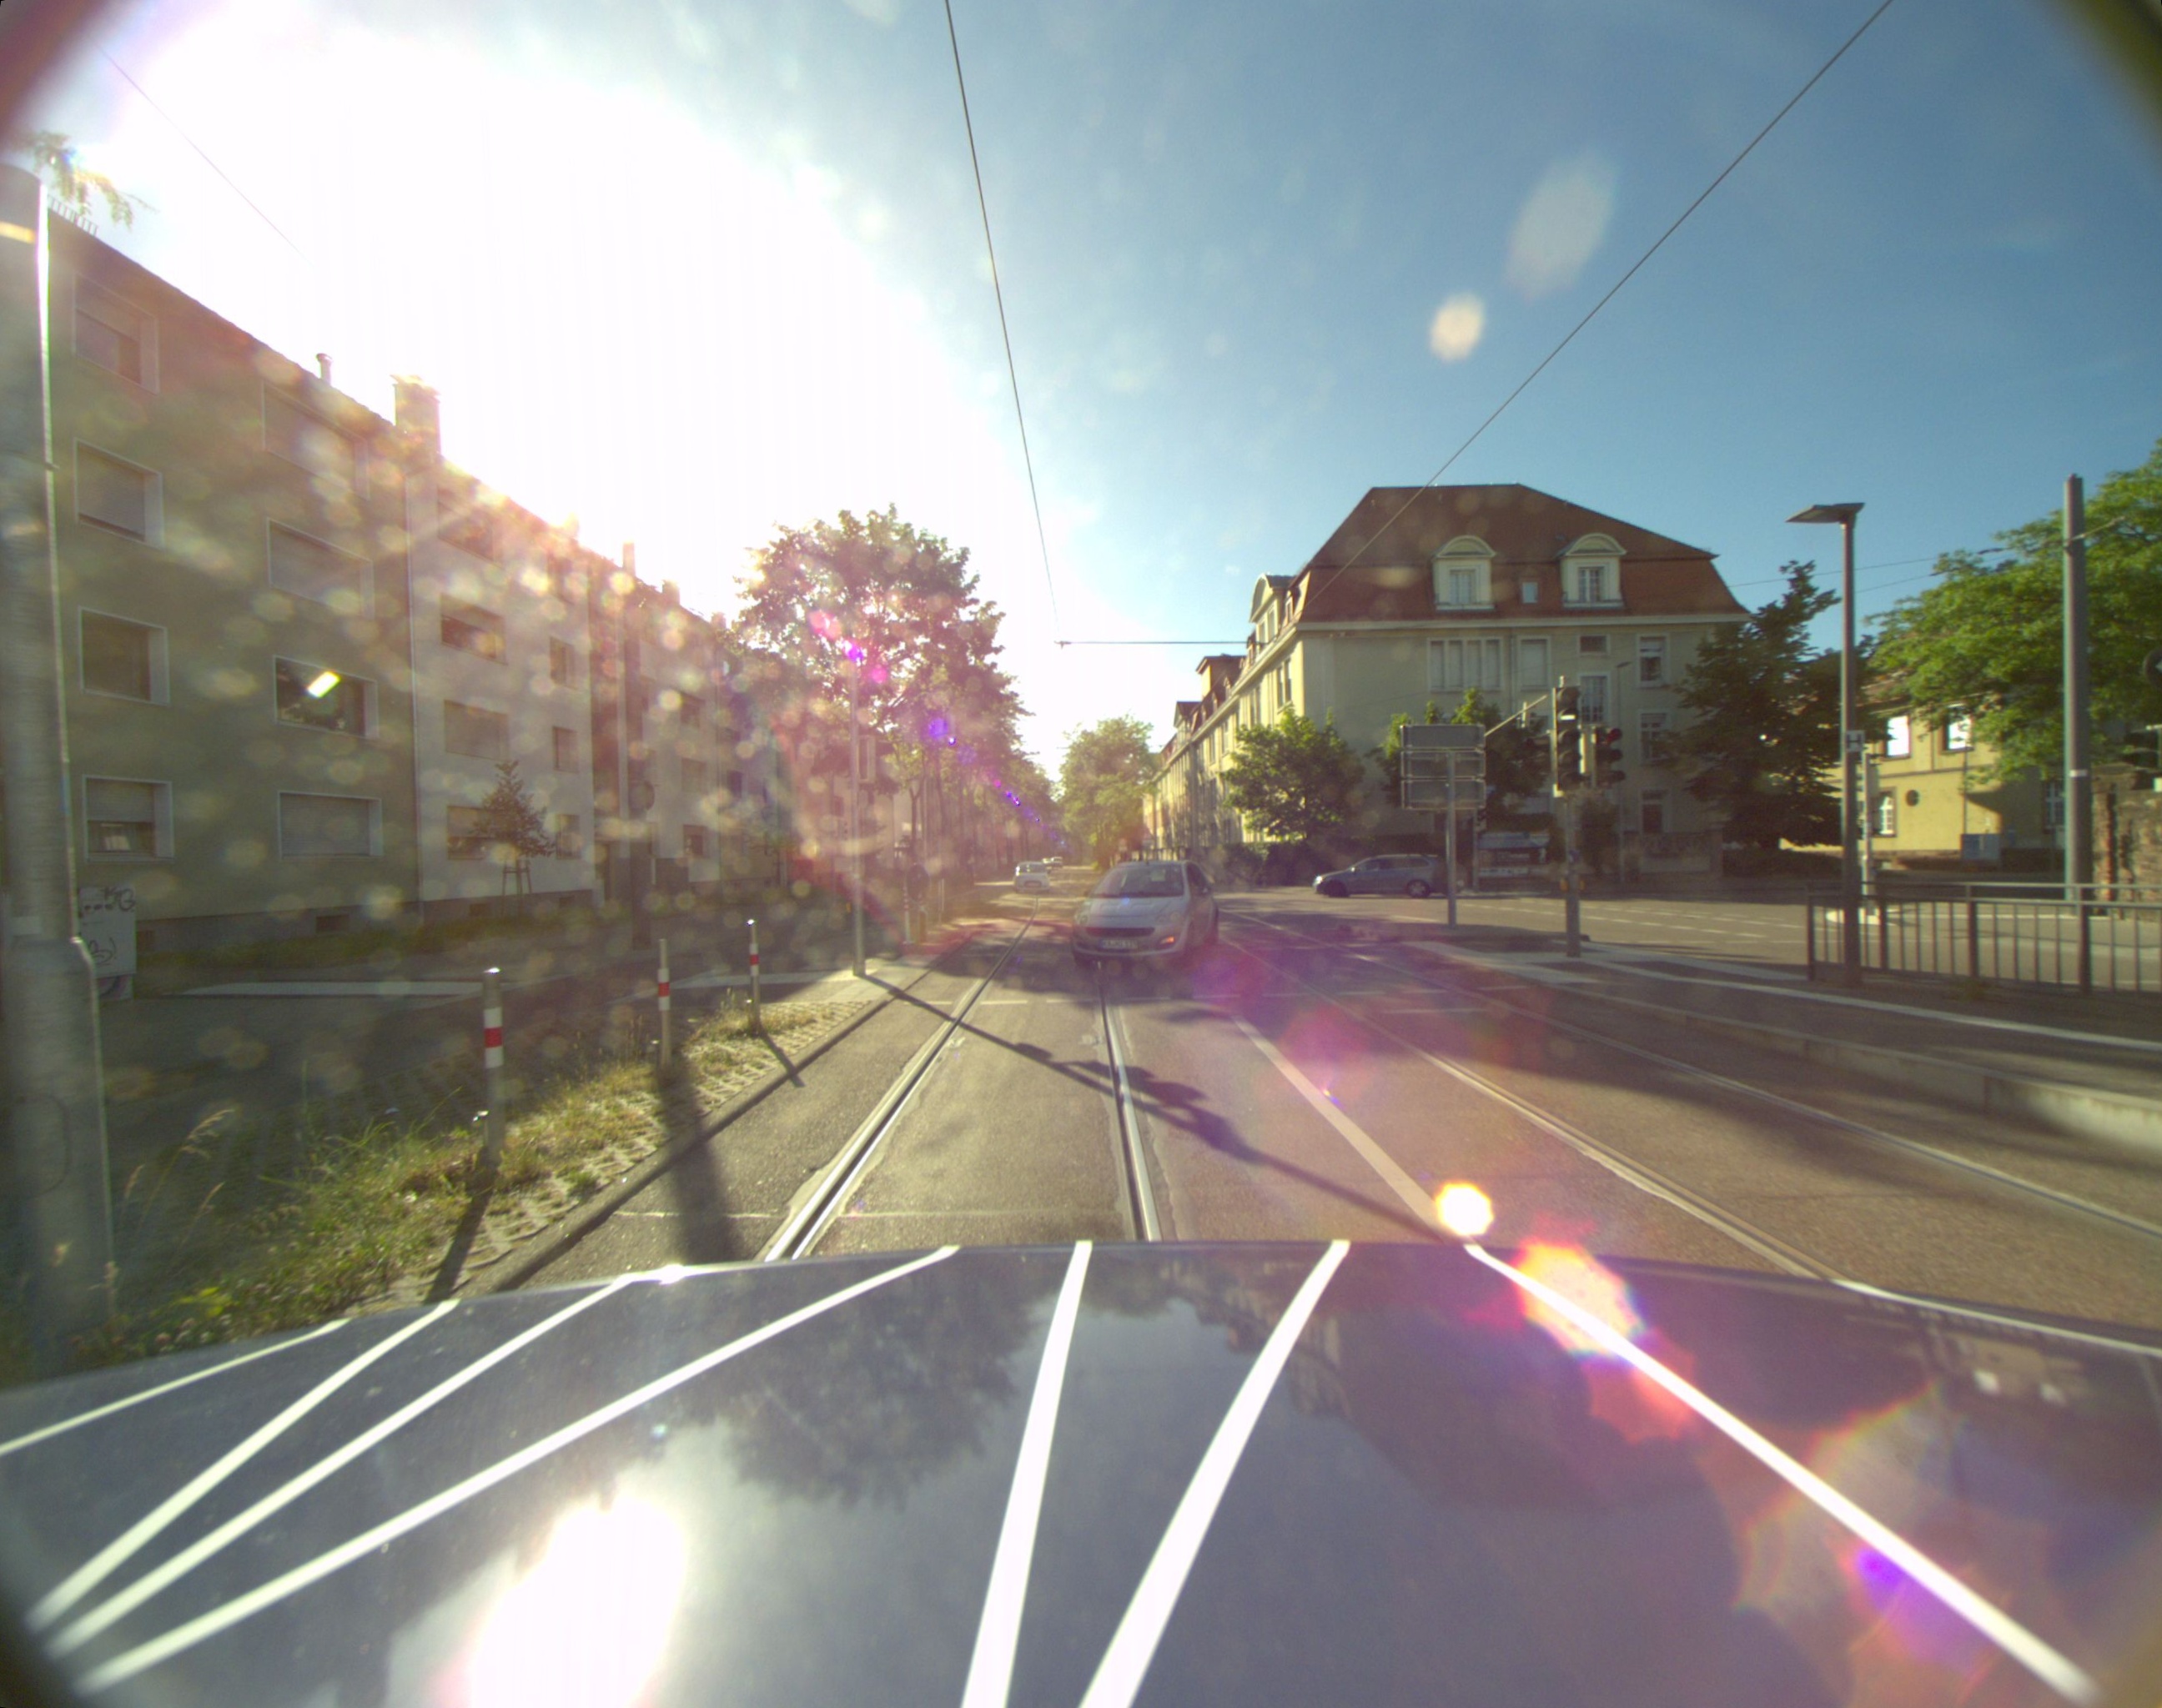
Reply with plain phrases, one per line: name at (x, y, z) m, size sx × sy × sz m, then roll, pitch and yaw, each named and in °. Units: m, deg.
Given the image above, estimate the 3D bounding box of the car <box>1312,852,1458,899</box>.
car at (10.232, 0.707, 25.597) m, size 4.394 × 1.450 × 1.746 m, roll -1°, pitch 0°, yaw 27°

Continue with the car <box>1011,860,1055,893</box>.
car at (-2.343, 1.035, 36.347) m, size 1.743 × 1.450 × 3.690 m, roll -1°, pitch 0°, yaw -8°

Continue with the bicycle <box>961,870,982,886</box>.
bicycle at (-6.733, 1.460, 46.687) m, size 0.826 × 0.880 × 2.199 m, roll -1°, pitch 0°, yaw 4°

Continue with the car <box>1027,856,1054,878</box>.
car at (-3.148, 0.981, 58.892) m, size 1.743 × 1.567 × 3.690 m, roll -1°, pitch 0°, yaw -8°

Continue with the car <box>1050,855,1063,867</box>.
car at (-3.980, 1.124, 124.094) m, size 1.825 × 1.751 × 3.692 m, roll -3°, pitch 0°, yaw -4°

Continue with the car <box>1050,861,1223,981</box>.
car at (1.012, 0.880, 11.591) m, size 1.739 × 1.450 × 3.698 m, roll -1°, pitch 0°, yaw 18°

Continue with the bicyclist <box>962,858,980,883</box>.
bicyclist at (-6.739, 0.997, 46.679) m, size 0.818 × 1.491 × 1.258 m, roll -1°, pitch 0°, yaw 4°
